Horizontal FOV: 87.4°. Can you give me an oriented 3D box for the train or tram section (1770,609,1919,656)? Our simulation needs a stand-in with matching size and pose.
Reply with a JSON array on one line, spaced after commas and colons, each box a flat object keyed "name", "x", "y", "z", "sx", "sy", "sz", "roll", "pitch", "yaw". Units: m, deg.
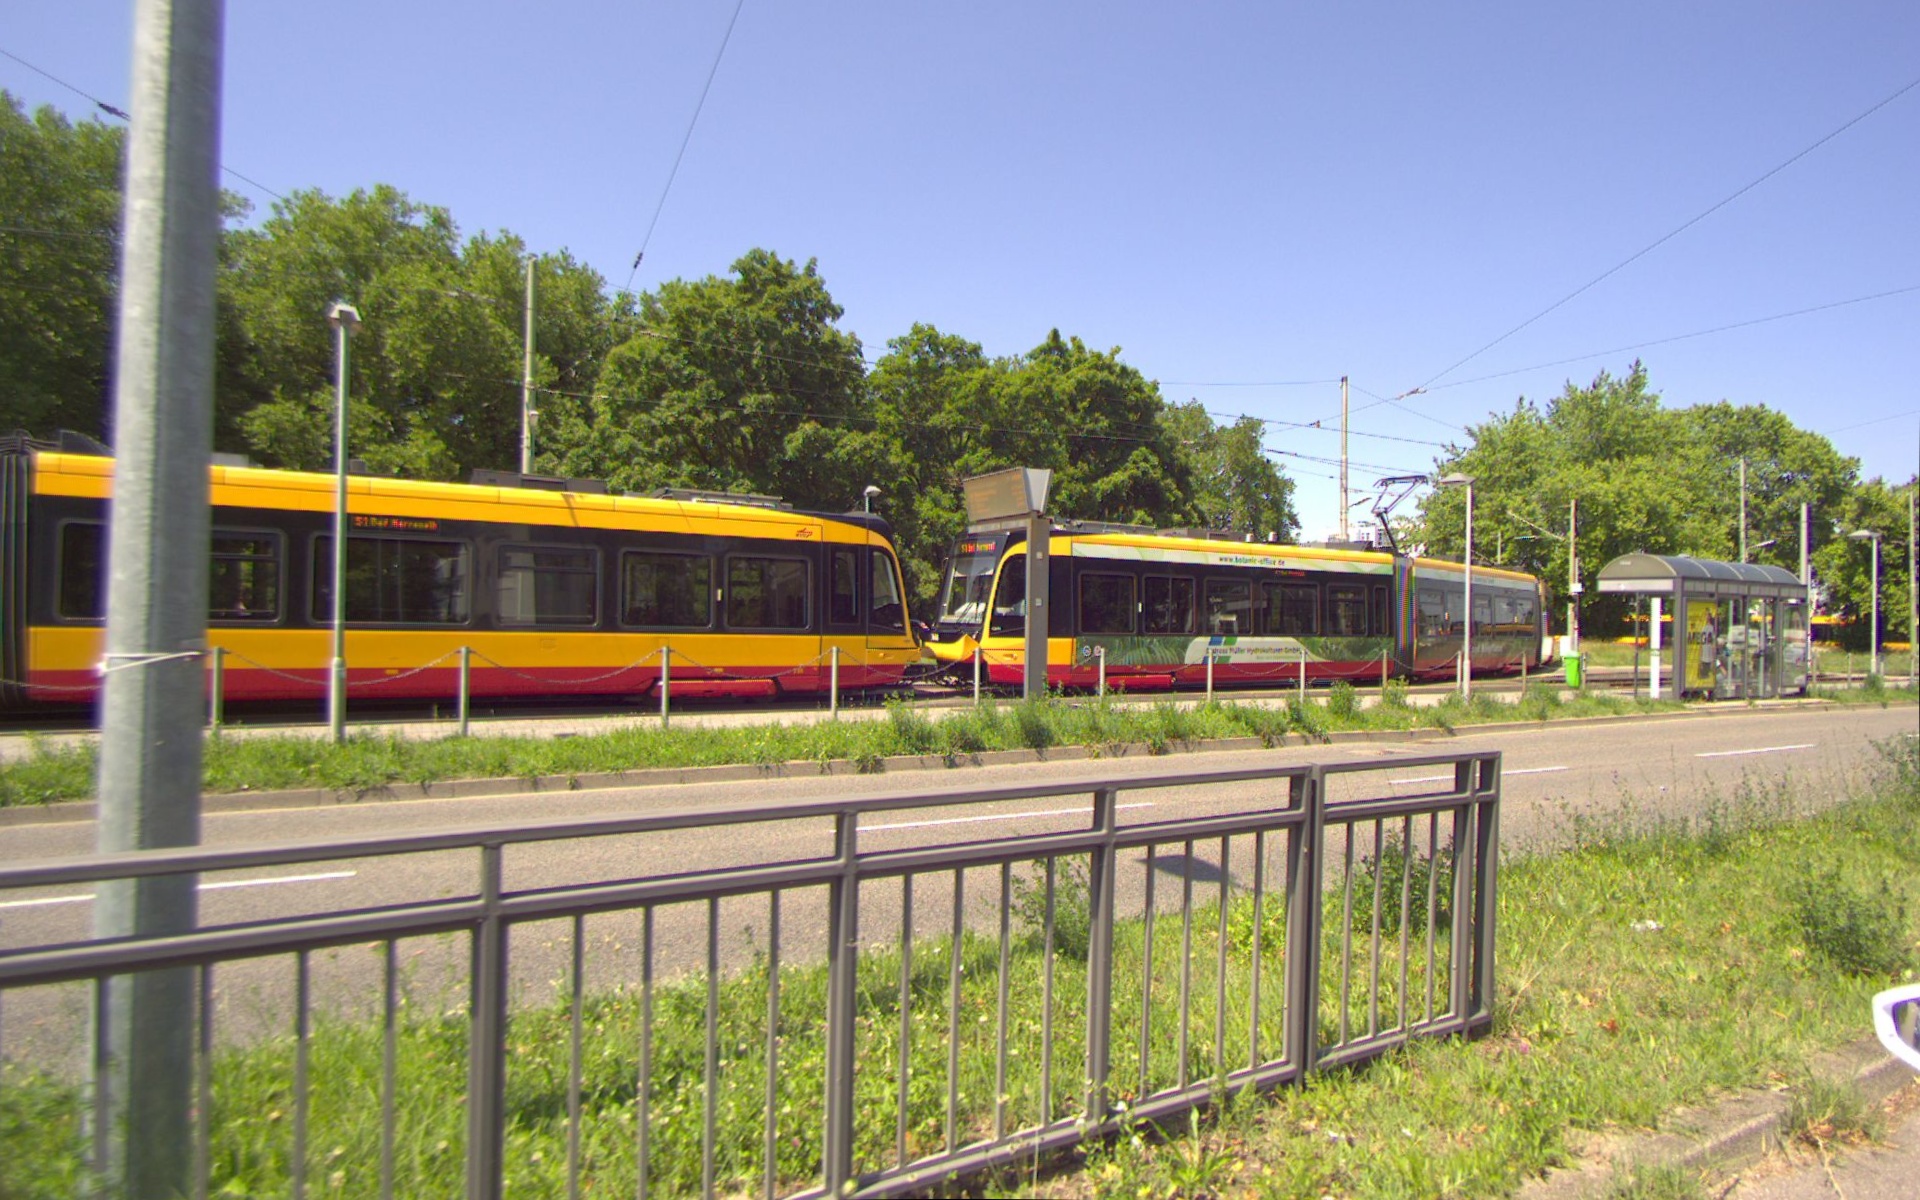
[{"name": "train or tram section", "x": 76.971, "y": 2.704, "z": 85.390, "sx": 3.002, "sy": 3.512, "sz": 12.683, "roll": 1, "pitch": 0, "yaw": -22}]

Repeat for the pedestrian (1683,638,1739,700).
[{"name": "pedestrian", "x": 16.465, "y": 1.497, "z": 22.028, "sx": 0.830, "sy": 1.300, "sz": 0.697, "roll": 1, "pitch": 0, "yaw": -31}]

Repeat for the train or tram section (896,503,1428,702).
[{"name": "train or tram section", "x": 5.311, "y": 0.179, "z": 23.465, "sx": 13.740, "sy": 3.673, "sz": 3.028, "roll": 2, "pitch": 0, "yaw": -31}]

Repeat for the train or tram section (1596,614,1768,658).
[{"name": "train or tram section", "x": 68.698, "y": 3.318, "z": 95.978, "sx": 13.068, "sy": 3.512, "sz": 3.031, "roll": 2, "pitch": 0, "yaw": 41}]

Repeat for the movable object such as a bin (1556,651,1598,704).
[{"name": "movable object such as a bin", "x": 12.158, "y": 1.519, "z": 19.787, "sx": 0.638, "sy": 0.991, "sz": 0.478, "roll": 2, "pitch": -1, "yaw": -33}]

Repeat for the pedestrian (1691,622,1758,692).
[{"name": "pedestrian", "x": 18.064, "y": 1.326, "z": 23.742, "sx": 0.974, "sy": 1.567, "sz": 0.926, "roll": 1, "pitch": 0, "yaw": -31}]

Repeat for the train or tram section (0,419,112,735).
[{"name": "train or tram section", "x": -17.309, "y": -0.438, "z": 10.501, "sx": 12.445, "sy": 3.791, "sz": 3.030, "roll": 2, "pitch": 0, "yaw": -30}]

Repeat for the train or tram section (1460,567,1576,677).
[{"name": "train or tram section", "x": 22.245, "y": 0.788, "z": 39.604, "sx": 3.002, "sy": 3.673, "sz": 12.417, "roll": 2, "pitch": 0, "yaw": 33}]

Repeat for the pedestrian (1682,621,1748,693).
[{"name": "pedestrian", "x": 17.188, "y": 1.280, "z": 22.871, "sx": 1.014, "sy": 1.567, "sz": 0.869, "roll": 1, "pitch": 0, "yaw": -31}]

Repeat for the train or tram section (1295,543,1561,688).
[{"name": "train or tram section", "x": 14.709, "y": 0.475, "z": 30.679, "sx": 12.365, "sy": 3.673, "sz": 3.014, "roll": 1, "pitch": 0, "yaw": -44}]

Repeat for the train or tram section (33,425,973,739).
[{"name": "train or tram section", "x": -6.244, "y": -0.084, "z": 16.764, "sx": 13.100, "sy": 3.817, "sz": 3.030, "roll": 2, "pitch": 0, "yaw": -29}]
